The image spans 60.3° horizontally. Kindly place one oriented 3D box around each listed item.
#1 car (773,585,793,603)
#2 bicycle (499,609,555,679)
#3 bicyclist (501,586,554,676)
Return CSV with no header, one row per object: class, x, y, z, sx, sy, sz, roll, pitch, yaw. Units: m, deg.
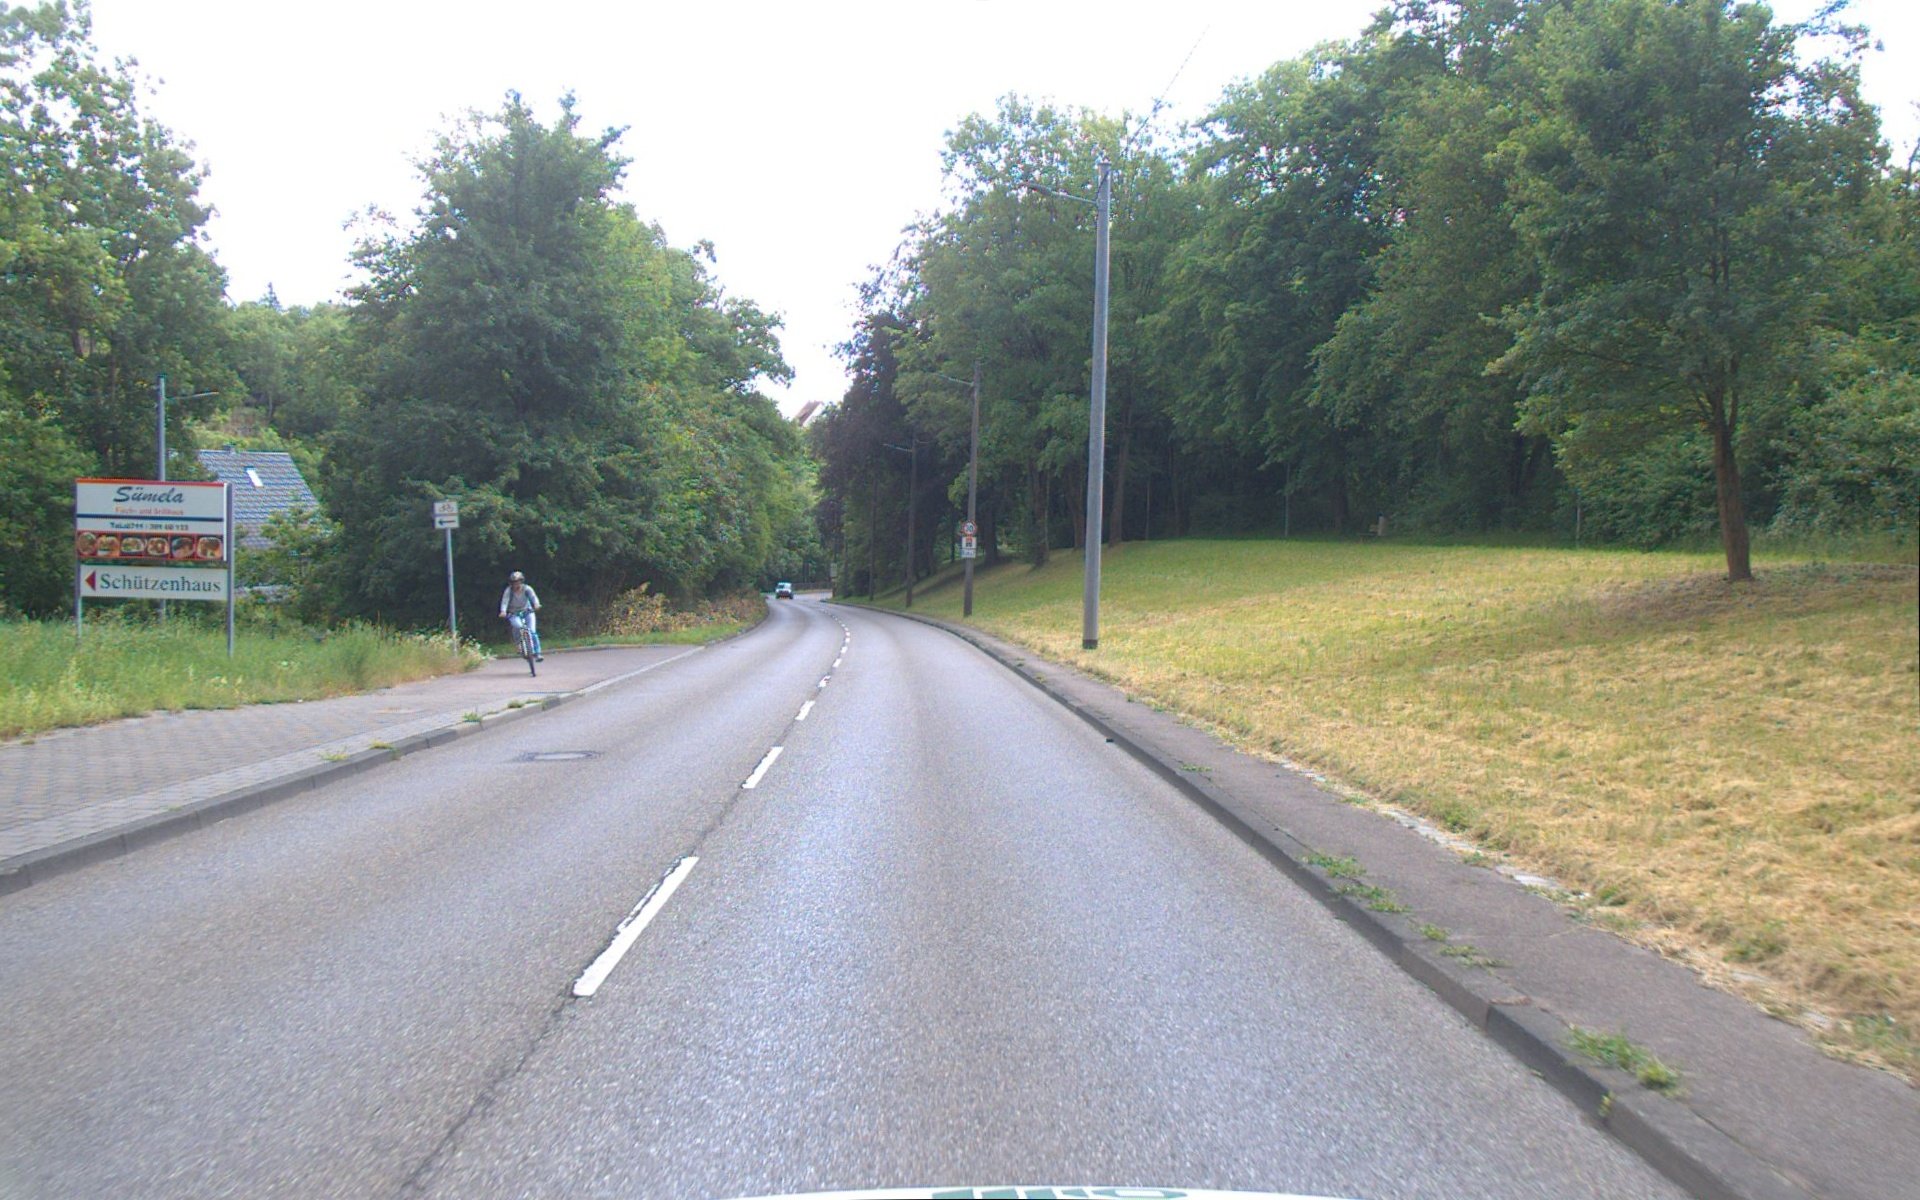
car,-21.340,-0.757,199.620,1.953,2.049,3.999,2,0,-2
bicycle,-7.120,0.707,27.253,0.815,1.054,2.434,2,0,-14
bicyclist,-7.148,0.507,27.366,0.812,1.452,0.778,1,0,-15
